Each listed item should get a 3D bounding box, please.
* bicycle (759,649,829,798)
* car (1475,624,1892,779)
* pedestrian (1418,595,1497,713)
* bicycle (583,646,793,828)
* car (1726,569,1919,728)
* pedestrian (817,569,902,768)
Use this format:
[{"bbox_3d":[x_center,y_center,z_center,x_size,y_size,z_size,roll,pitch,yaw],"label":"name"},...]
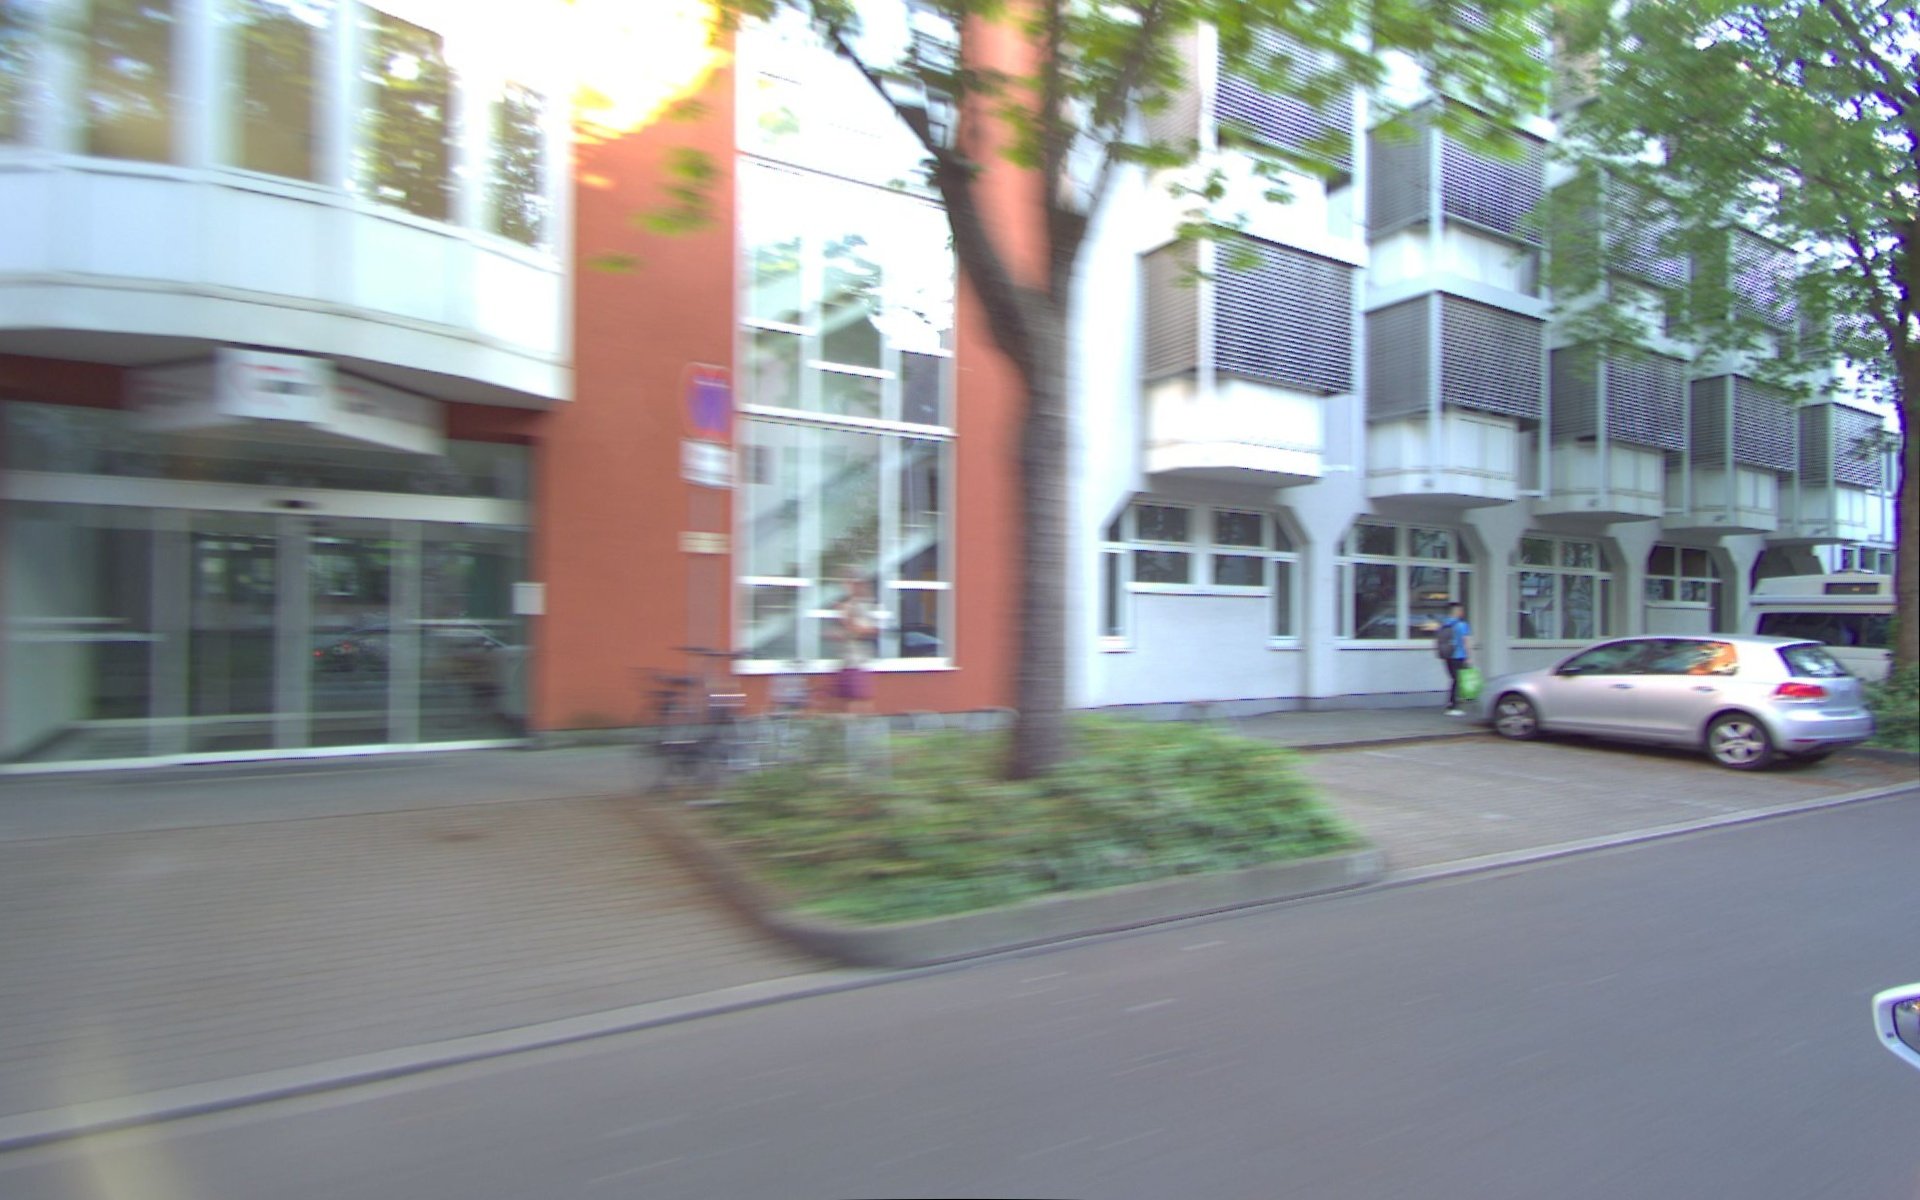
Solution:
[{"bbox_3d":[-1.383,0.988,8.560,0.491,1.043,1.798,1,0,-7],"label":"bicycle"},{"bbox_3d":[8.759,1.103,12.534,1.735,1.506,3.855,1,0,-28],"label":"car"},{"bbox_3d":[7.666,0.811,15.476,0.894,1.751,0.700,1,0,-30],"label":"pedestrian"},{"bbox_3d":[-2.034,0.939,7.377,1.771,1.122,0.498,1,0,37],"label":"bicycle"},{"bbox_3d":[15.861,0.781,16.641,1.976,2.510,4.661,1,-1,-29],"label":"car"},{"bbox_3d":[-0.938,0.626,9.387,0.726,1.780,0.705,1,0,-6],"label":"pedestrian"}]
